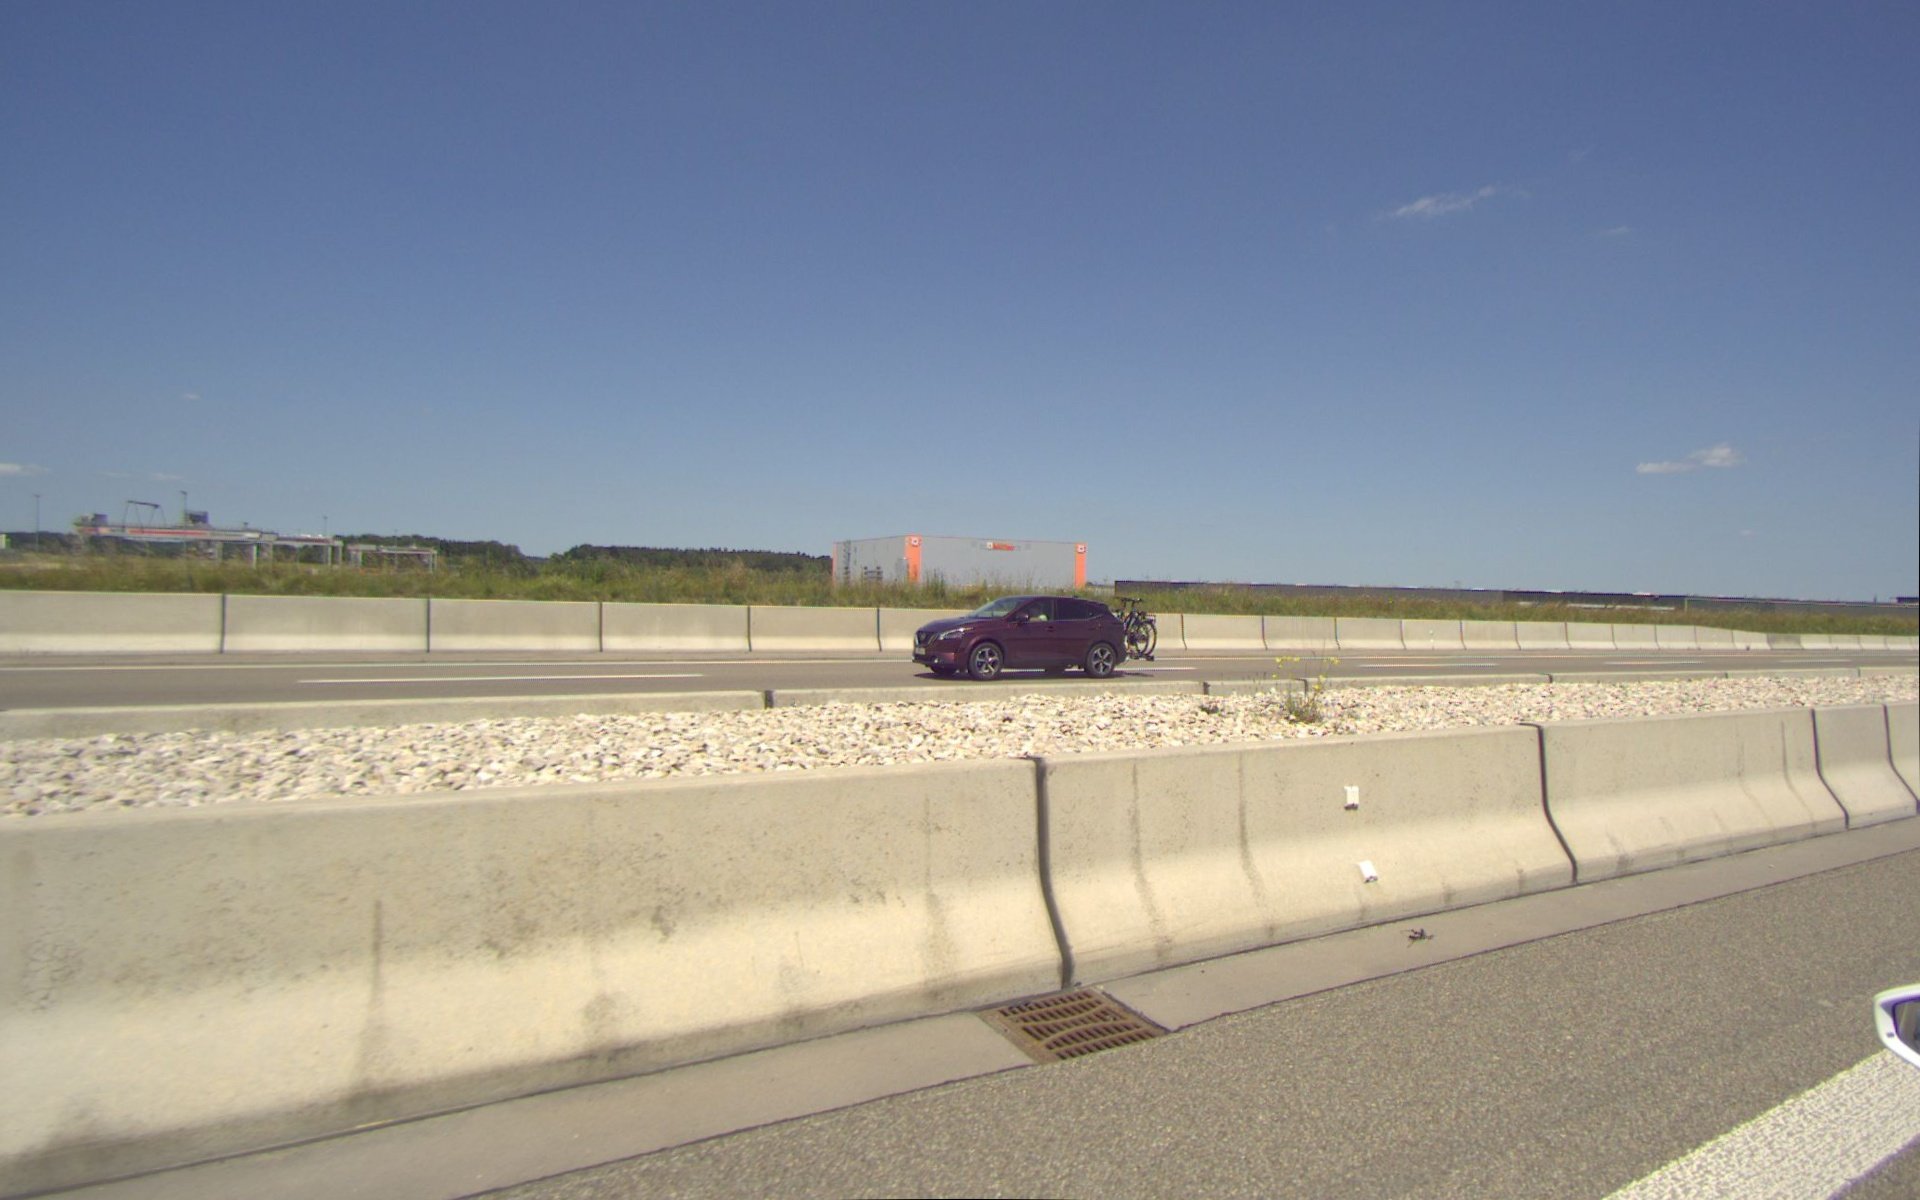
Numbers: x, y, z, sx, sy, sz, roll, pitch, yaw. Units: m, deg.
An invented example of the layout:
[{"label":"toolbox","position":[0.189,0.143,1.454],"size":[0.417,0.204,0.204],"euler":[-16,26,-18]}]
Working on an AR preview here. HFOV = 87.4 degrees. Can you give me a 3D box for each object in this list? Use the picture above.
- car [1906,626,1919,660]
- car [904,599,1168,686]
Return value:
[{"label":"car","position":[43.108,1.893,43.404],"size":[4.309,1.397,1.985],"euler":[1,0,-28]},{"label":"car","position":[1.570,0.781,19.872],"size":[5.080,1.511,1.859],"euler":[1,0,-31]}]
